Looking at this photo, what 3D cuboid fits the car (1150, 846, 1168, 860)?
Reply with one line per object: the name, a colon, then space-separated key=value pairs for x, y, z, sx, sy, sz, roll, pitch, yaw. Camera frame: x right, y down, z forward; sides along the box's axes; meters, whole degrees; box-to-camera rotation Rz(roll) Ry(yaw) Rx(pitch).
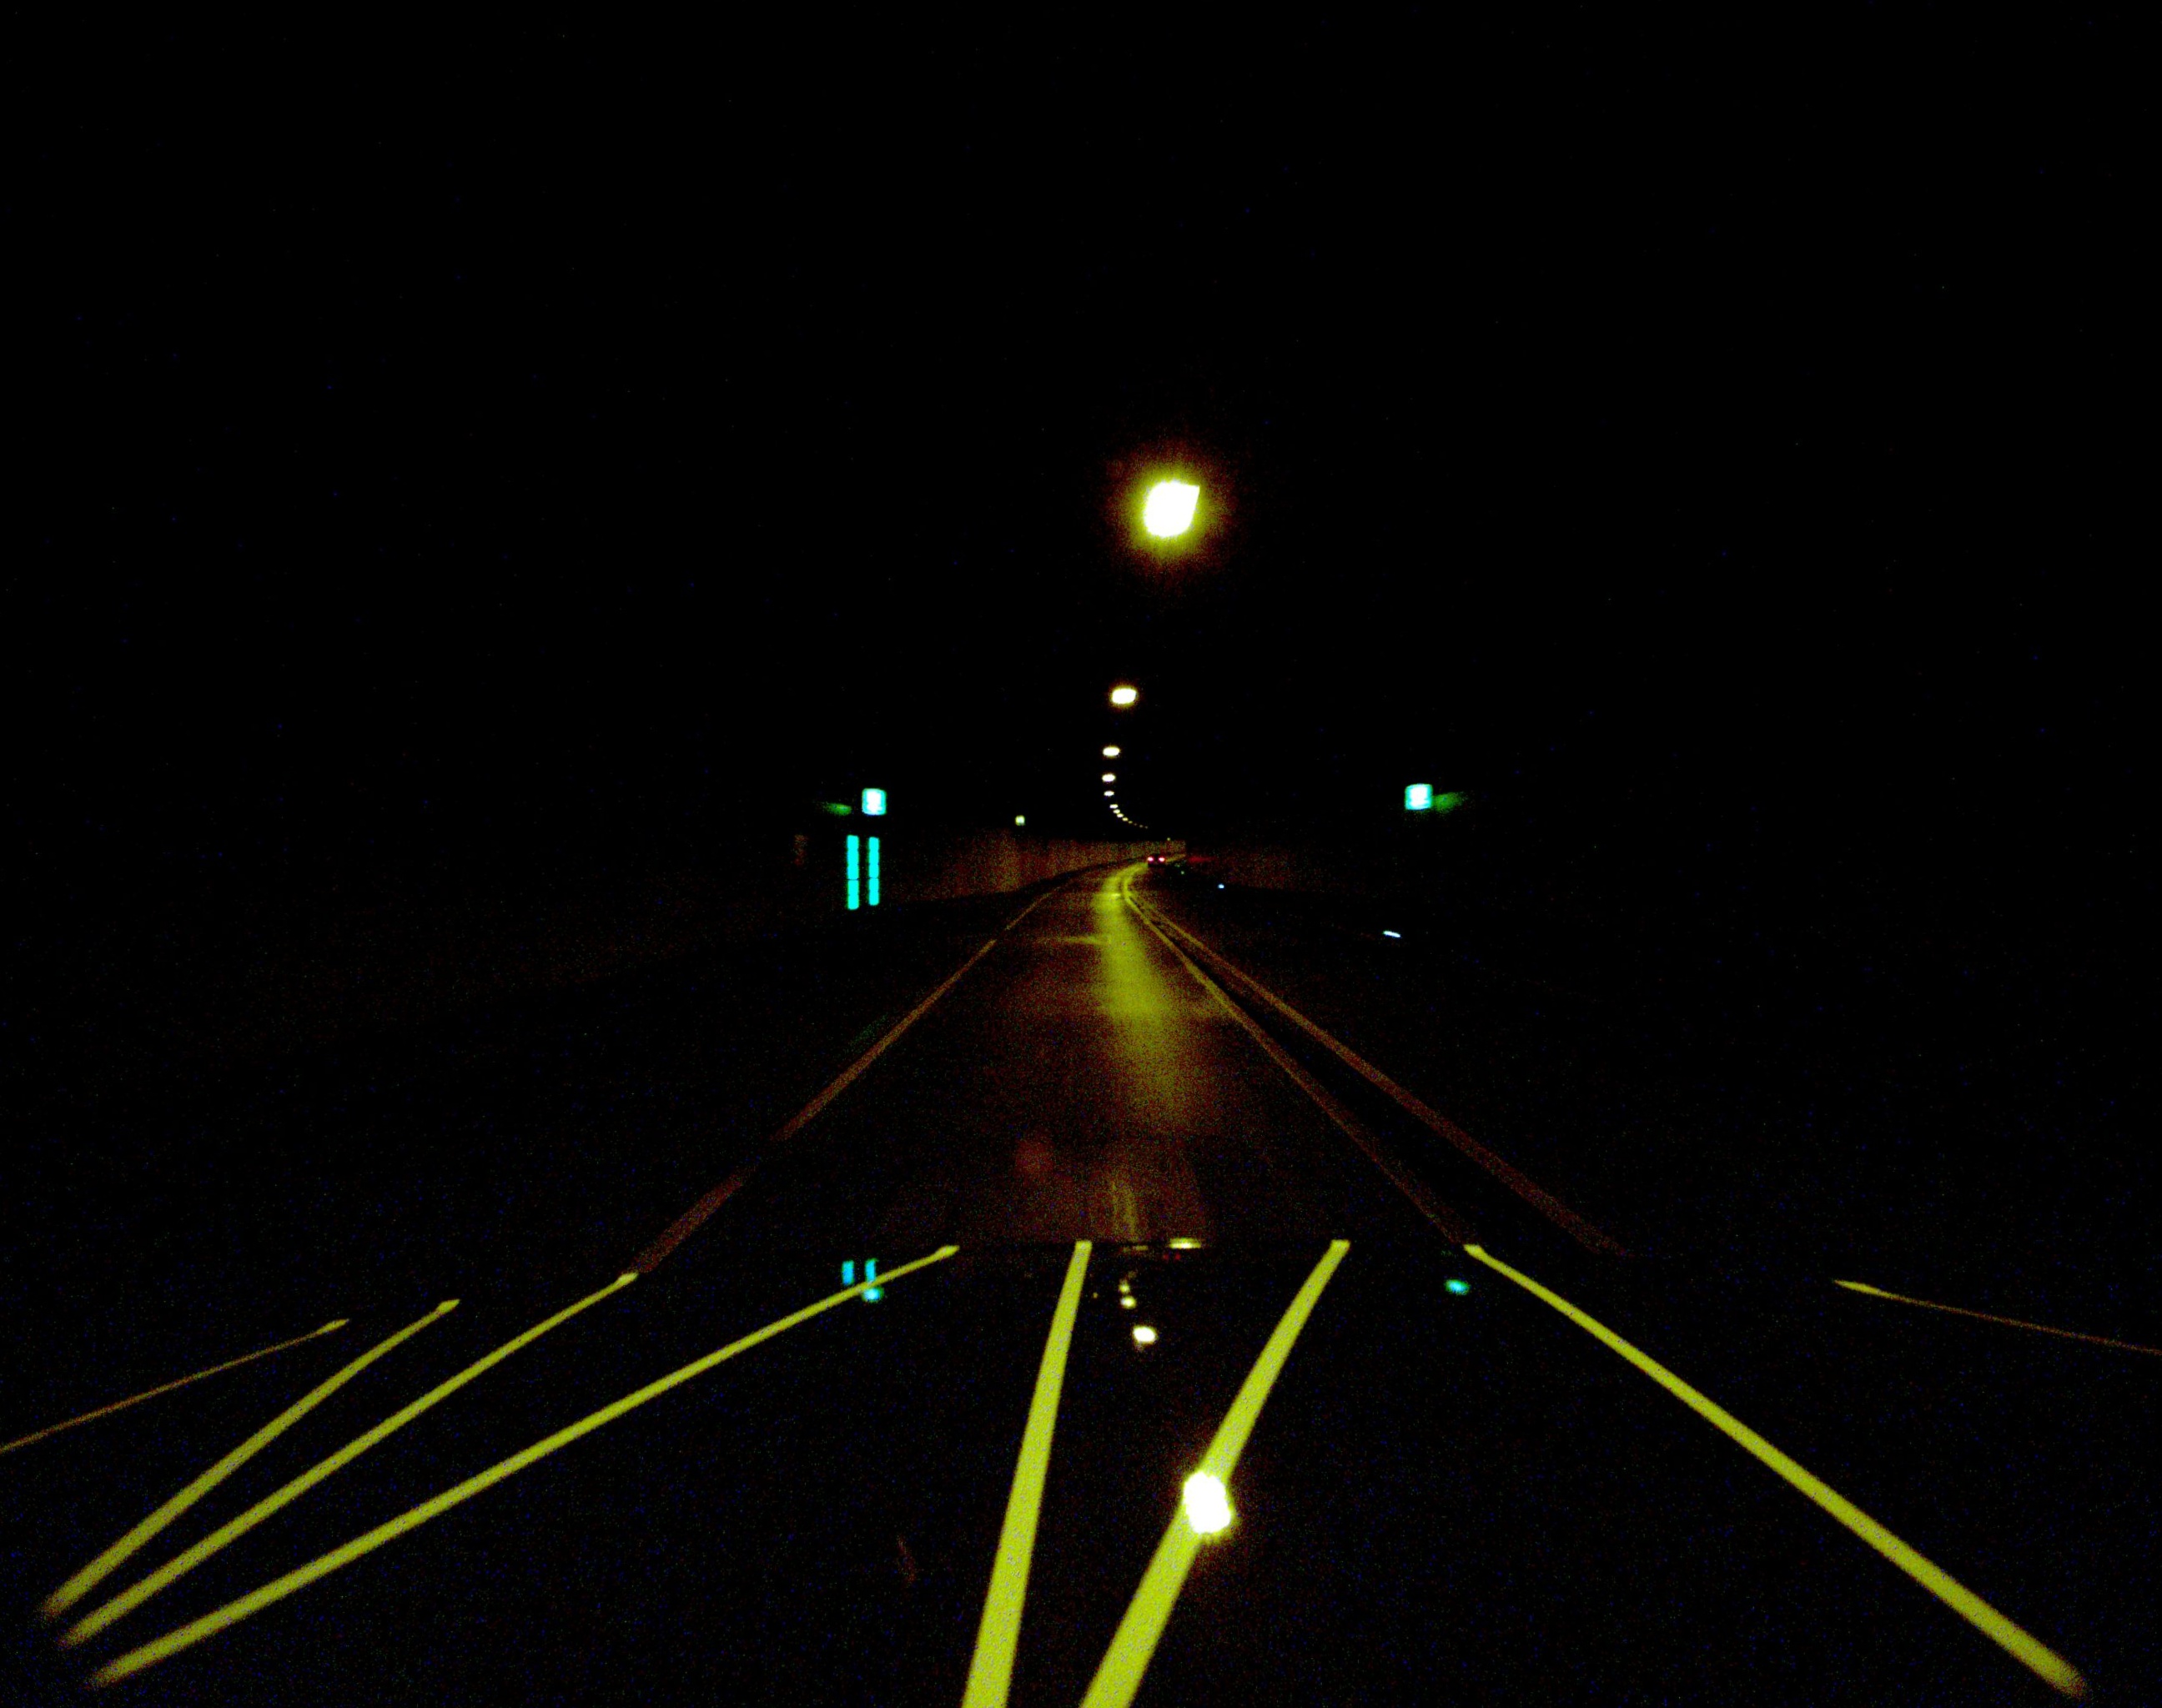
car: x=8.445 y=-0.133 z=81.789 sx=1.710 sy=1.407 sz=4.120 roll=-1 pitch=0 yaw=9
